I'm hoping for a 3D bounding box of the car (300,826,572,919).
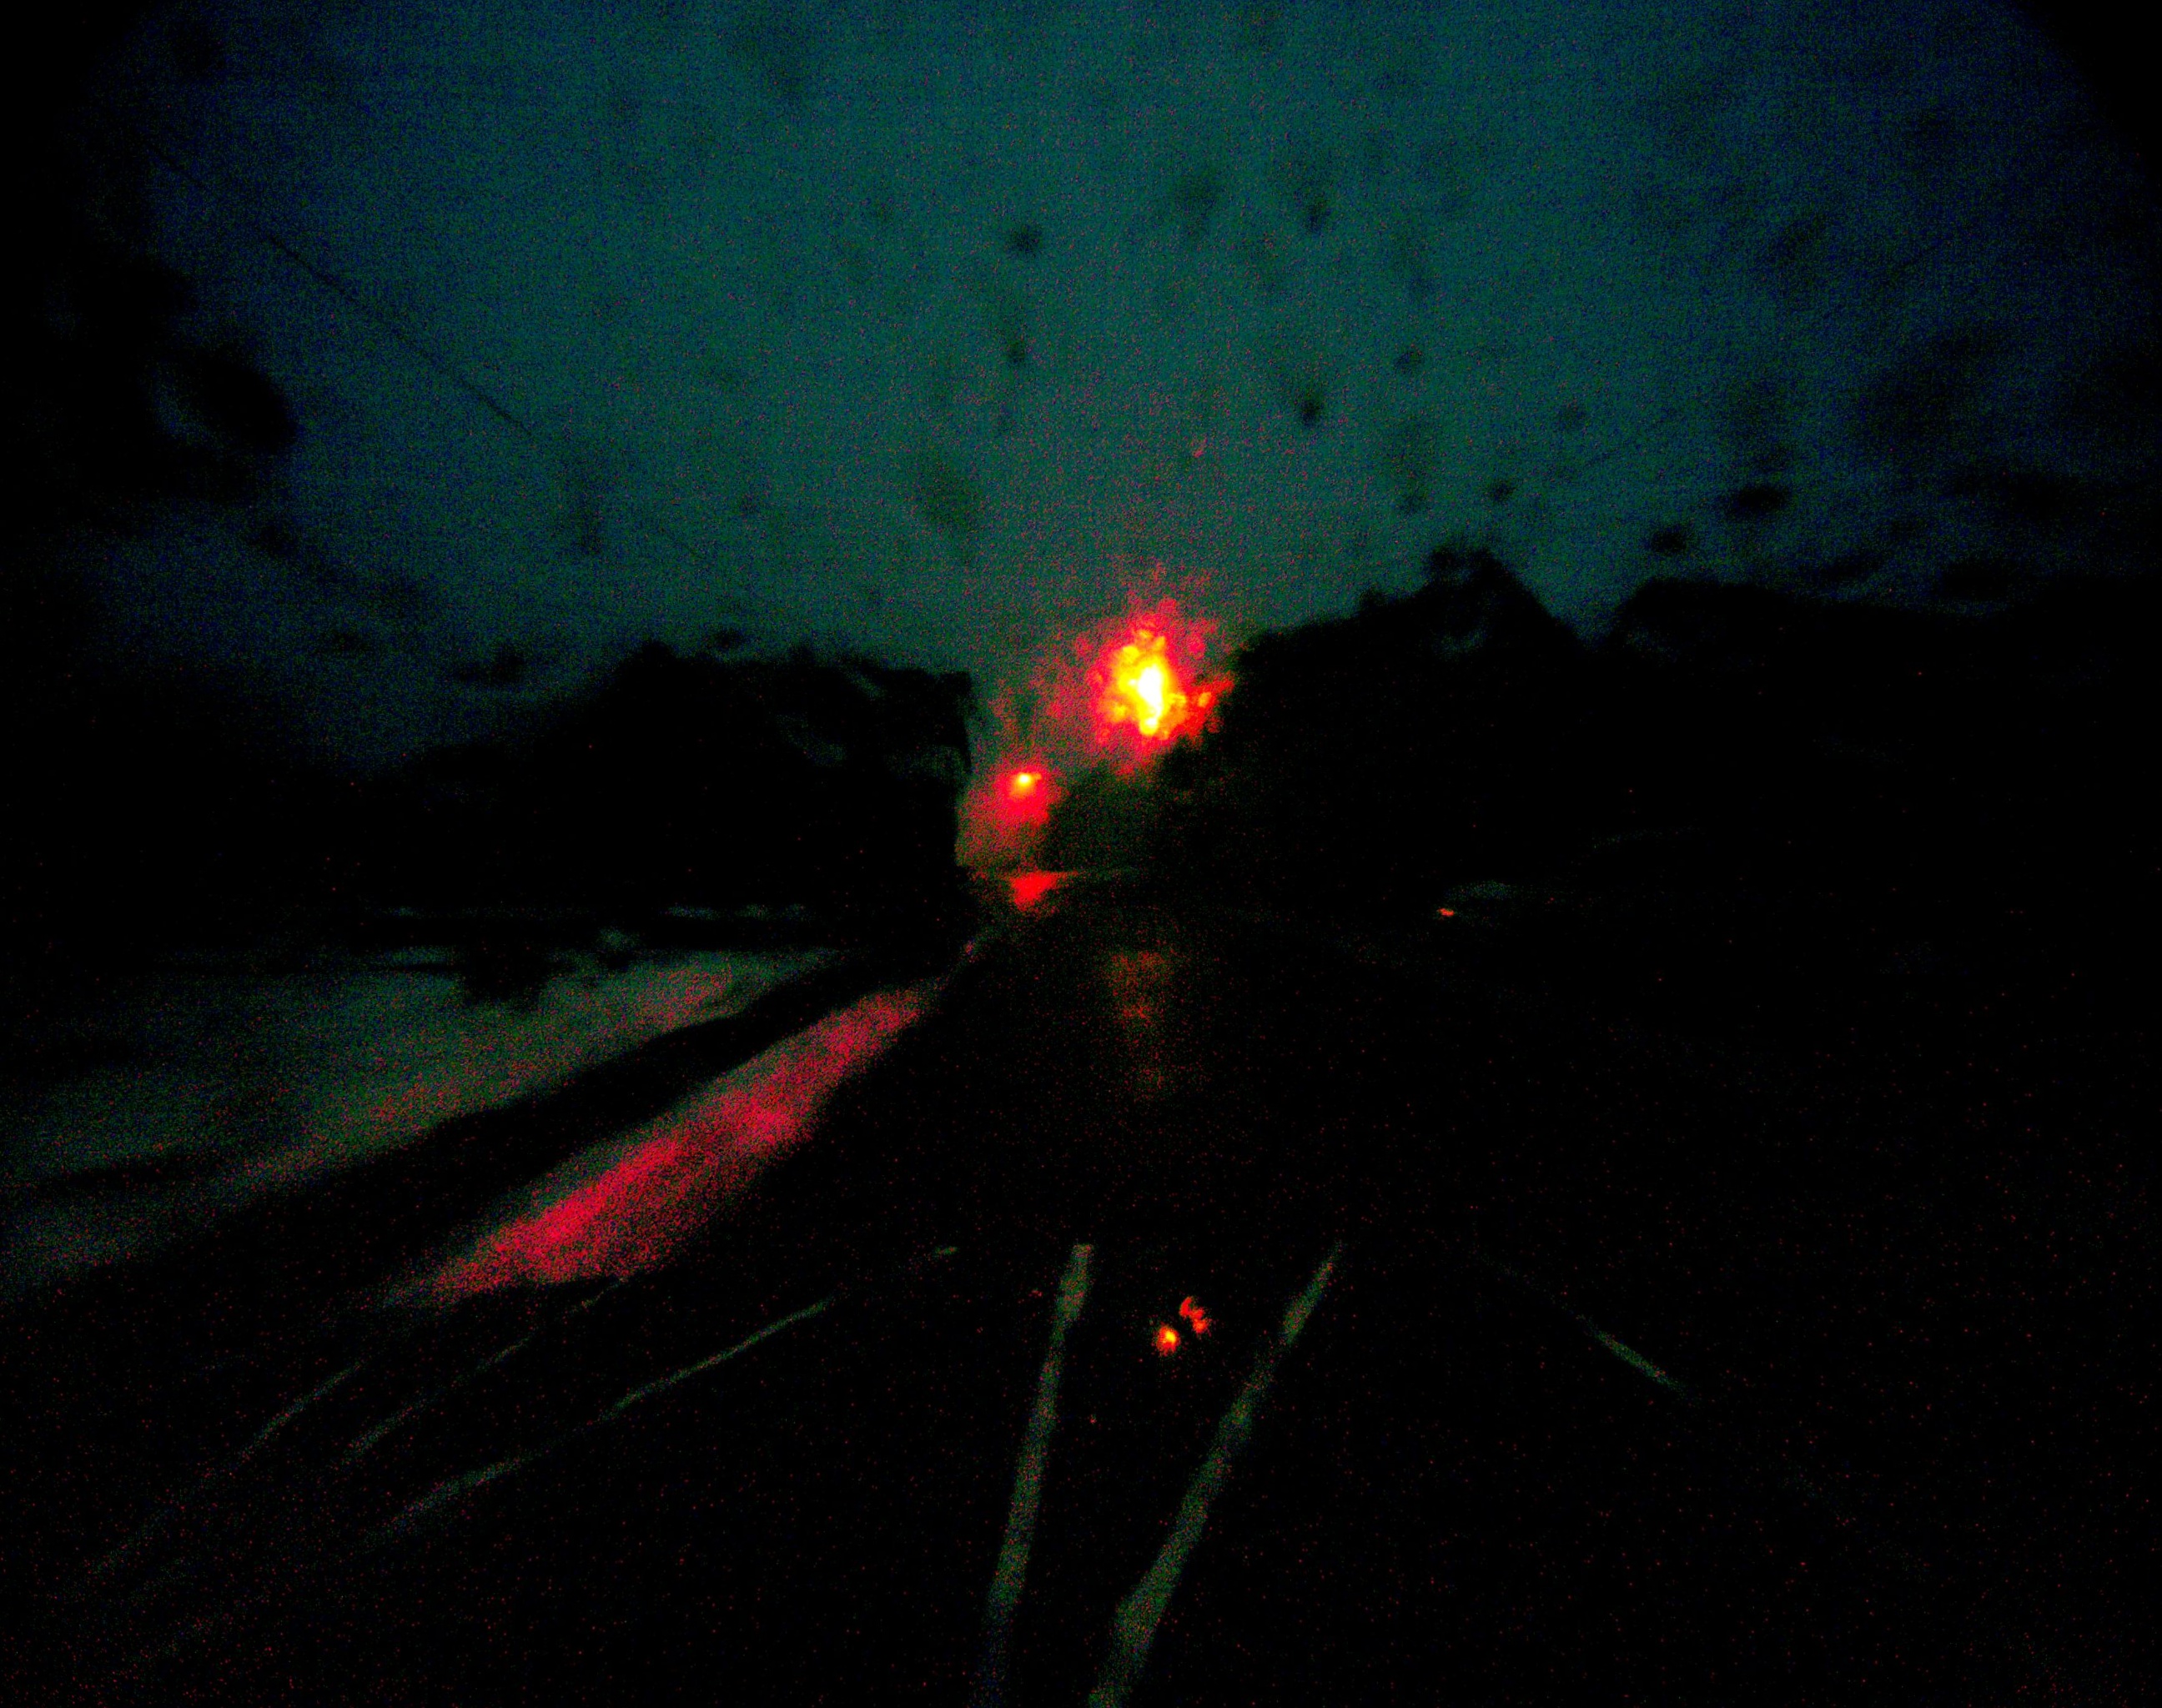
[{"bbox_3d":[-14.909,0.375,17.851,4.385,1.915,1.998,-2,1,-9],"label":"car"}]

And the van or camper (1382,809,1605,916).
[{"bbox_3d":[10.527,0.204,19.376,5.312,2.434,2.141,0,0,-23],"label":"van or camper"}]

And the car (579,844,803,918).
[{"bbox_3d":[-9.415,0.597,18.728,4.462,1.578,1.998,-2,1,-9],"label":"car"}]

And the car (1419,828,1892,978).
[{"bbox_3d":[7.438,0.627,10.312,4.801,1.657,1.891,-3,0,5],"label":"car"}]
